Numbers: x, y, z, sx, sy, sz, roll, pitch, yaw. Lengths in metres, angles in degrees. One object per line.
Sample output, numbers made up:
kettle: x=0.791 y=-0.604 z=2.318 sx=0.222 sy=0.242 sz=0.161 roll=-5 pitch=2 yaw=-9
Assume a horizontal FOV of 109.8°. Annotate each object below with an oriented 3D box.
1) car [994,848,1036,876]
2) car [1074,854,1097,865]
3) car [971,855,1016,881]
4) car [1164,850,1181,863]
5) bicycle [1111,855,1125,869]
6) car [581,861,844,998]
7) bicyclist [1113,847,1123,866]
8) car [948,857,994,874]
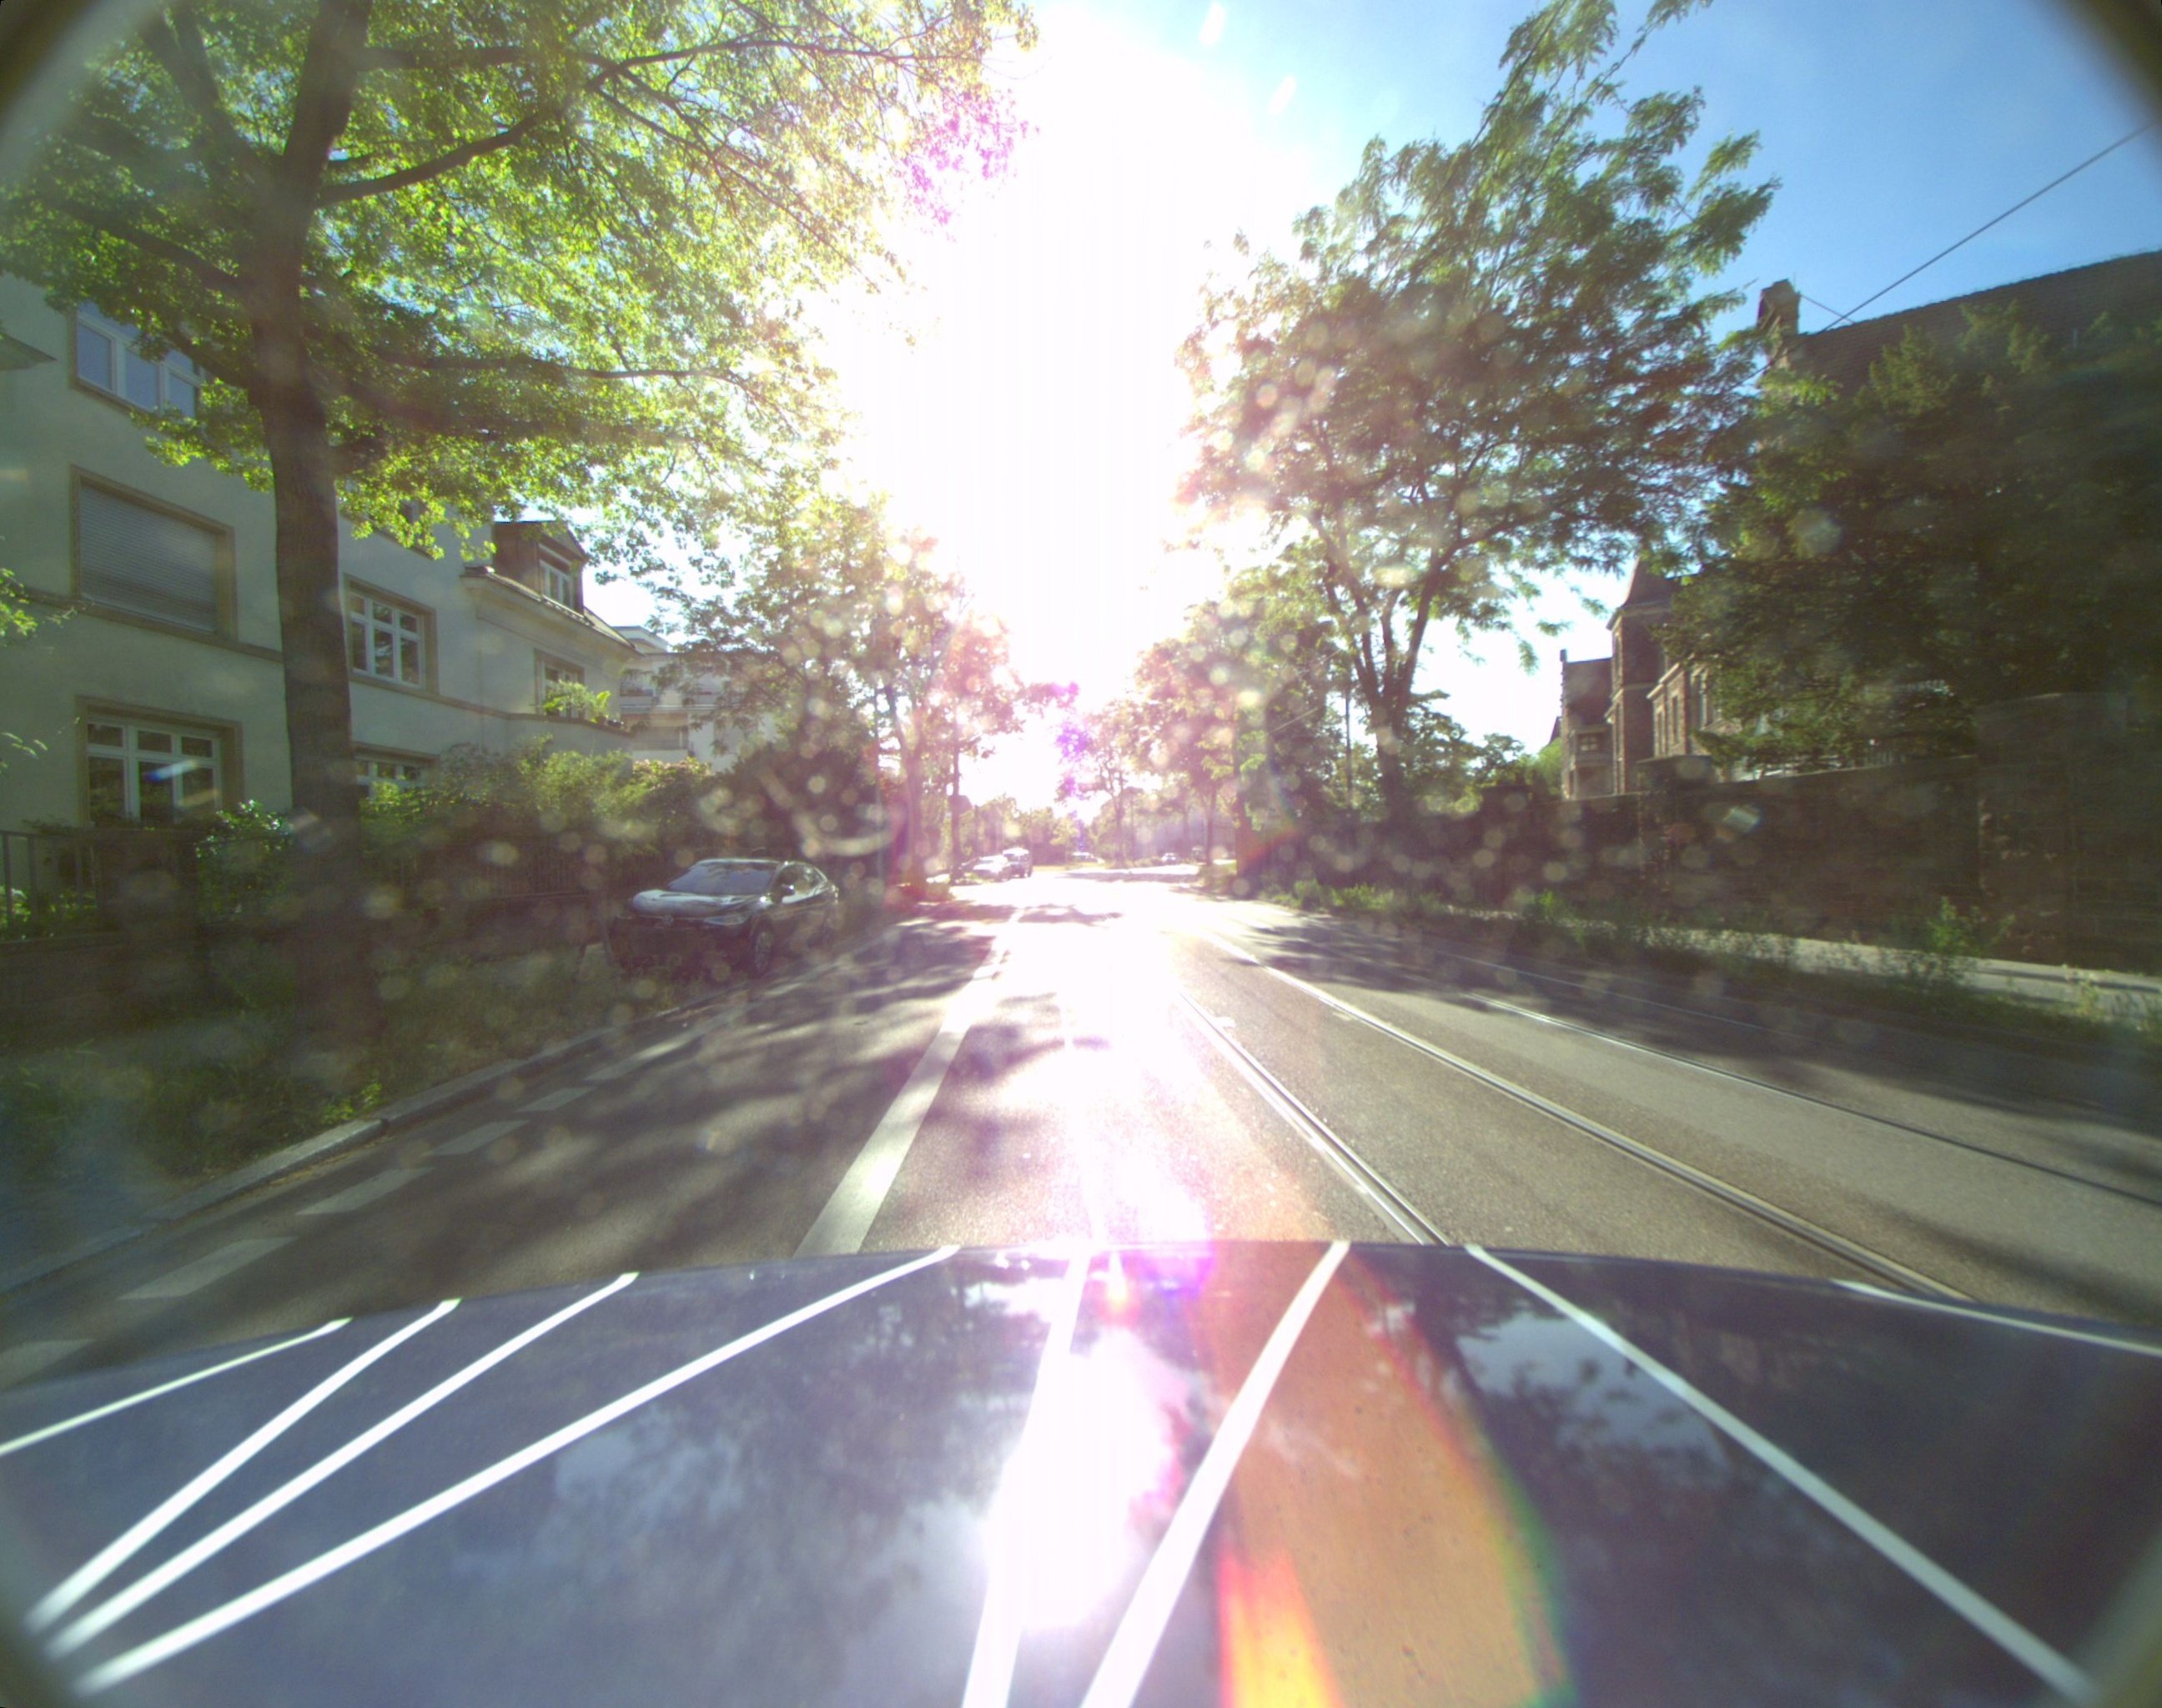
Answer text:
car: x=-4.411 y=0.514 z=51.686 sx=1.900 sy=1.775 sz=4.670 roll=-1 pitch=0 yaw=6
car: x=0.739 y=0.933 z=128.787 sx=3.908 sy=1.683 sz=1.905 roll=-1 pitch=0 yaw=-1
car: x=-5.173 y=0.802 z=45.331 sx=1.901 sy=1.402 sz=4.260 roll=-1 pitch=0 yaw=4
car: x=11.903 y=0.332 z=98.719 sx=1.997 sy=1.539 sz=4.002 roll=-2 pitch=0 yaw=8
bicycle: x=3.139 y=0.645 z=64.419 sx=0.588 sy=1.105 sz=1.857 roll=-1 pitch=0 yaw=19
car: x=-5.204 y=0.953 z=11.505 sx=1.919 sy=1.590 sz=4.258 roll=2 pitch=0 yaw=-1
bicyclist: x=3.140 y=0.217 z=64.505 sx=0.643 sy=1.632 sz=0.666 roll=-2 pitch=1 yaw=19
car: x=-10.052 y=1.054 z=69.535 sx=3.998 sy=1.433 sz=1.813 roll=-2 pitch=0 yaw=-3
